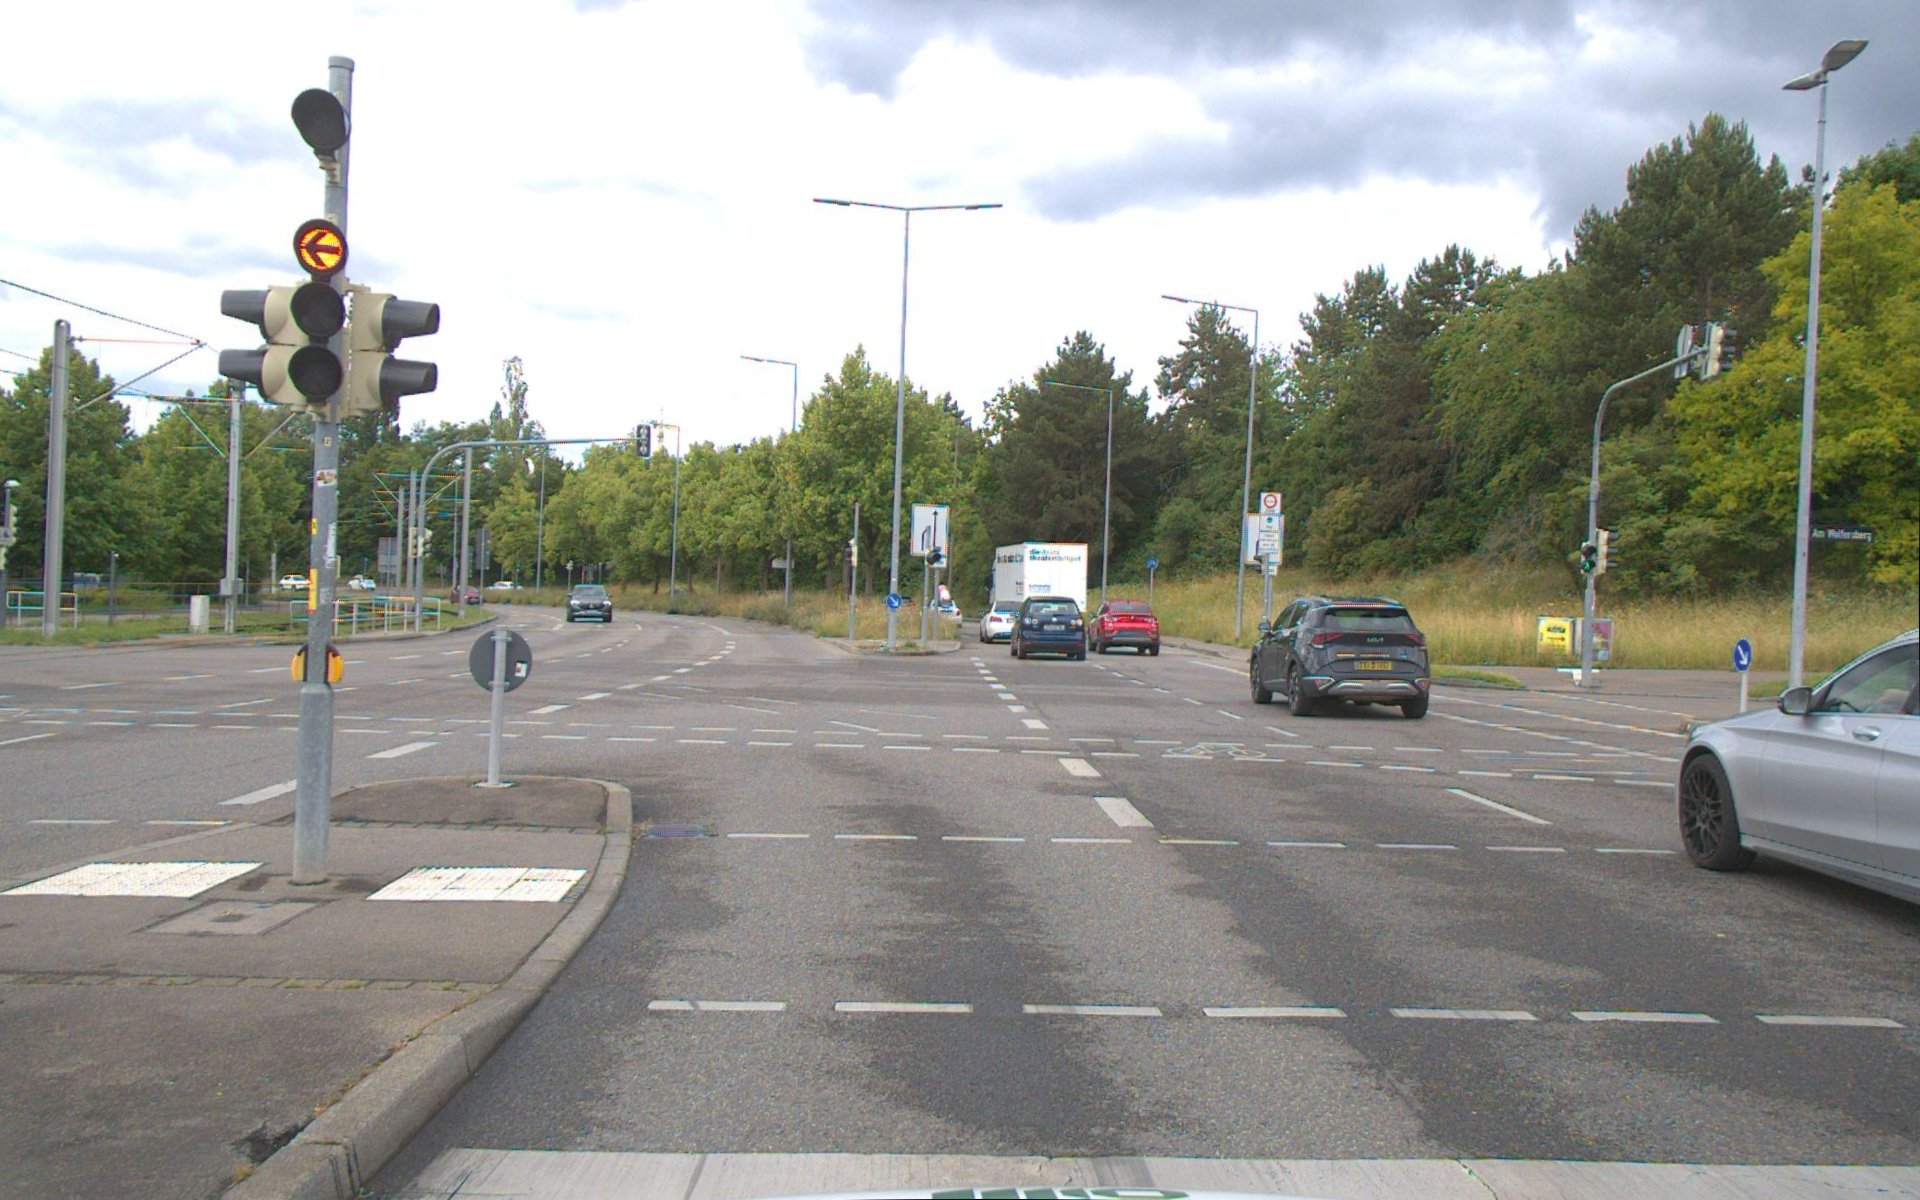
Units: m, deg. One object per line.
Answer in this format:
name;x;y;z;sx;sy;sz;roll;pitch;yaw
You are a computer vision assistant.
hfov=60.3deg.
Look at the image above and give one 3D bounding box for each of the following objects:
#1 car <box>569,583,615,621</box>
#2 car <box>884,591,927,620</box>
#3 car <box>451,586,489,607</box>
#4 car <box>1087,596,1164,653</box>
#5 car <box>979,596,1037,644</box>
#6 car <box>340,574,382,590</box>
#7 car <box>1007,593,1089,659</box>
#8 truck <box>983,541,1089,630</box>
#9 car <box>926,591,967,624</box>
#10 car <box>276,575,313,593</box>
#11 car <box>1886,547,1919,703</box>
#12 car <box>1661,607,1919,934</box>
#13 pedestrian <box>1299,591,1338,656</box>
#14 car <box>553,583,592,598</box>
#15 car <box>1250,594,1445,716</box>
car;-16.097;0.056;72.504;1.746;1.573;4.215;1;0;-10
car;-3.173;0.306;95.255;1.747;1.573;4.012;1;0;-13
car;-36.472;-0.271;123.073;1.762;1.468;4.381;0;0;-30
car;4.879;0.704;49.127;1.742;1.573;4.023;1;0;-2
car;1.618;0.662;57.270;1.742;1.573;4.023;1;0;-2
car;-60.588;-1.794;167.225;4.435;1.471;1.781;2;3;34
car;2.219;0.628;42.679;1.742;1.573;4.023;1;0;-2
truck;3.034;-0.620;69.897;2.687;3.387;11.391;1;0;-6
car;-0.712;0.356;83.976;1.743;1.573;4.020;1;0;-5
car;-62.166;-1.476;154.437;1.820;1.657;4.355;0;0;-43
car;20.331;0.471;30.089;5.772;2.830;2.135;0;0;-1
car;5.224;0.802;7.876;1.742;1.446;4.457;1;0;-2
pedestrian;9.342;0.607;43.089;0.797;1.656;0.790;1;0;-1
car;-41.272;-1.046;176.258;1.744;1.573;4.018;1;0;29
car;5.498;0.728;23.940;1.742;1.573;4.023;1;0;-2
